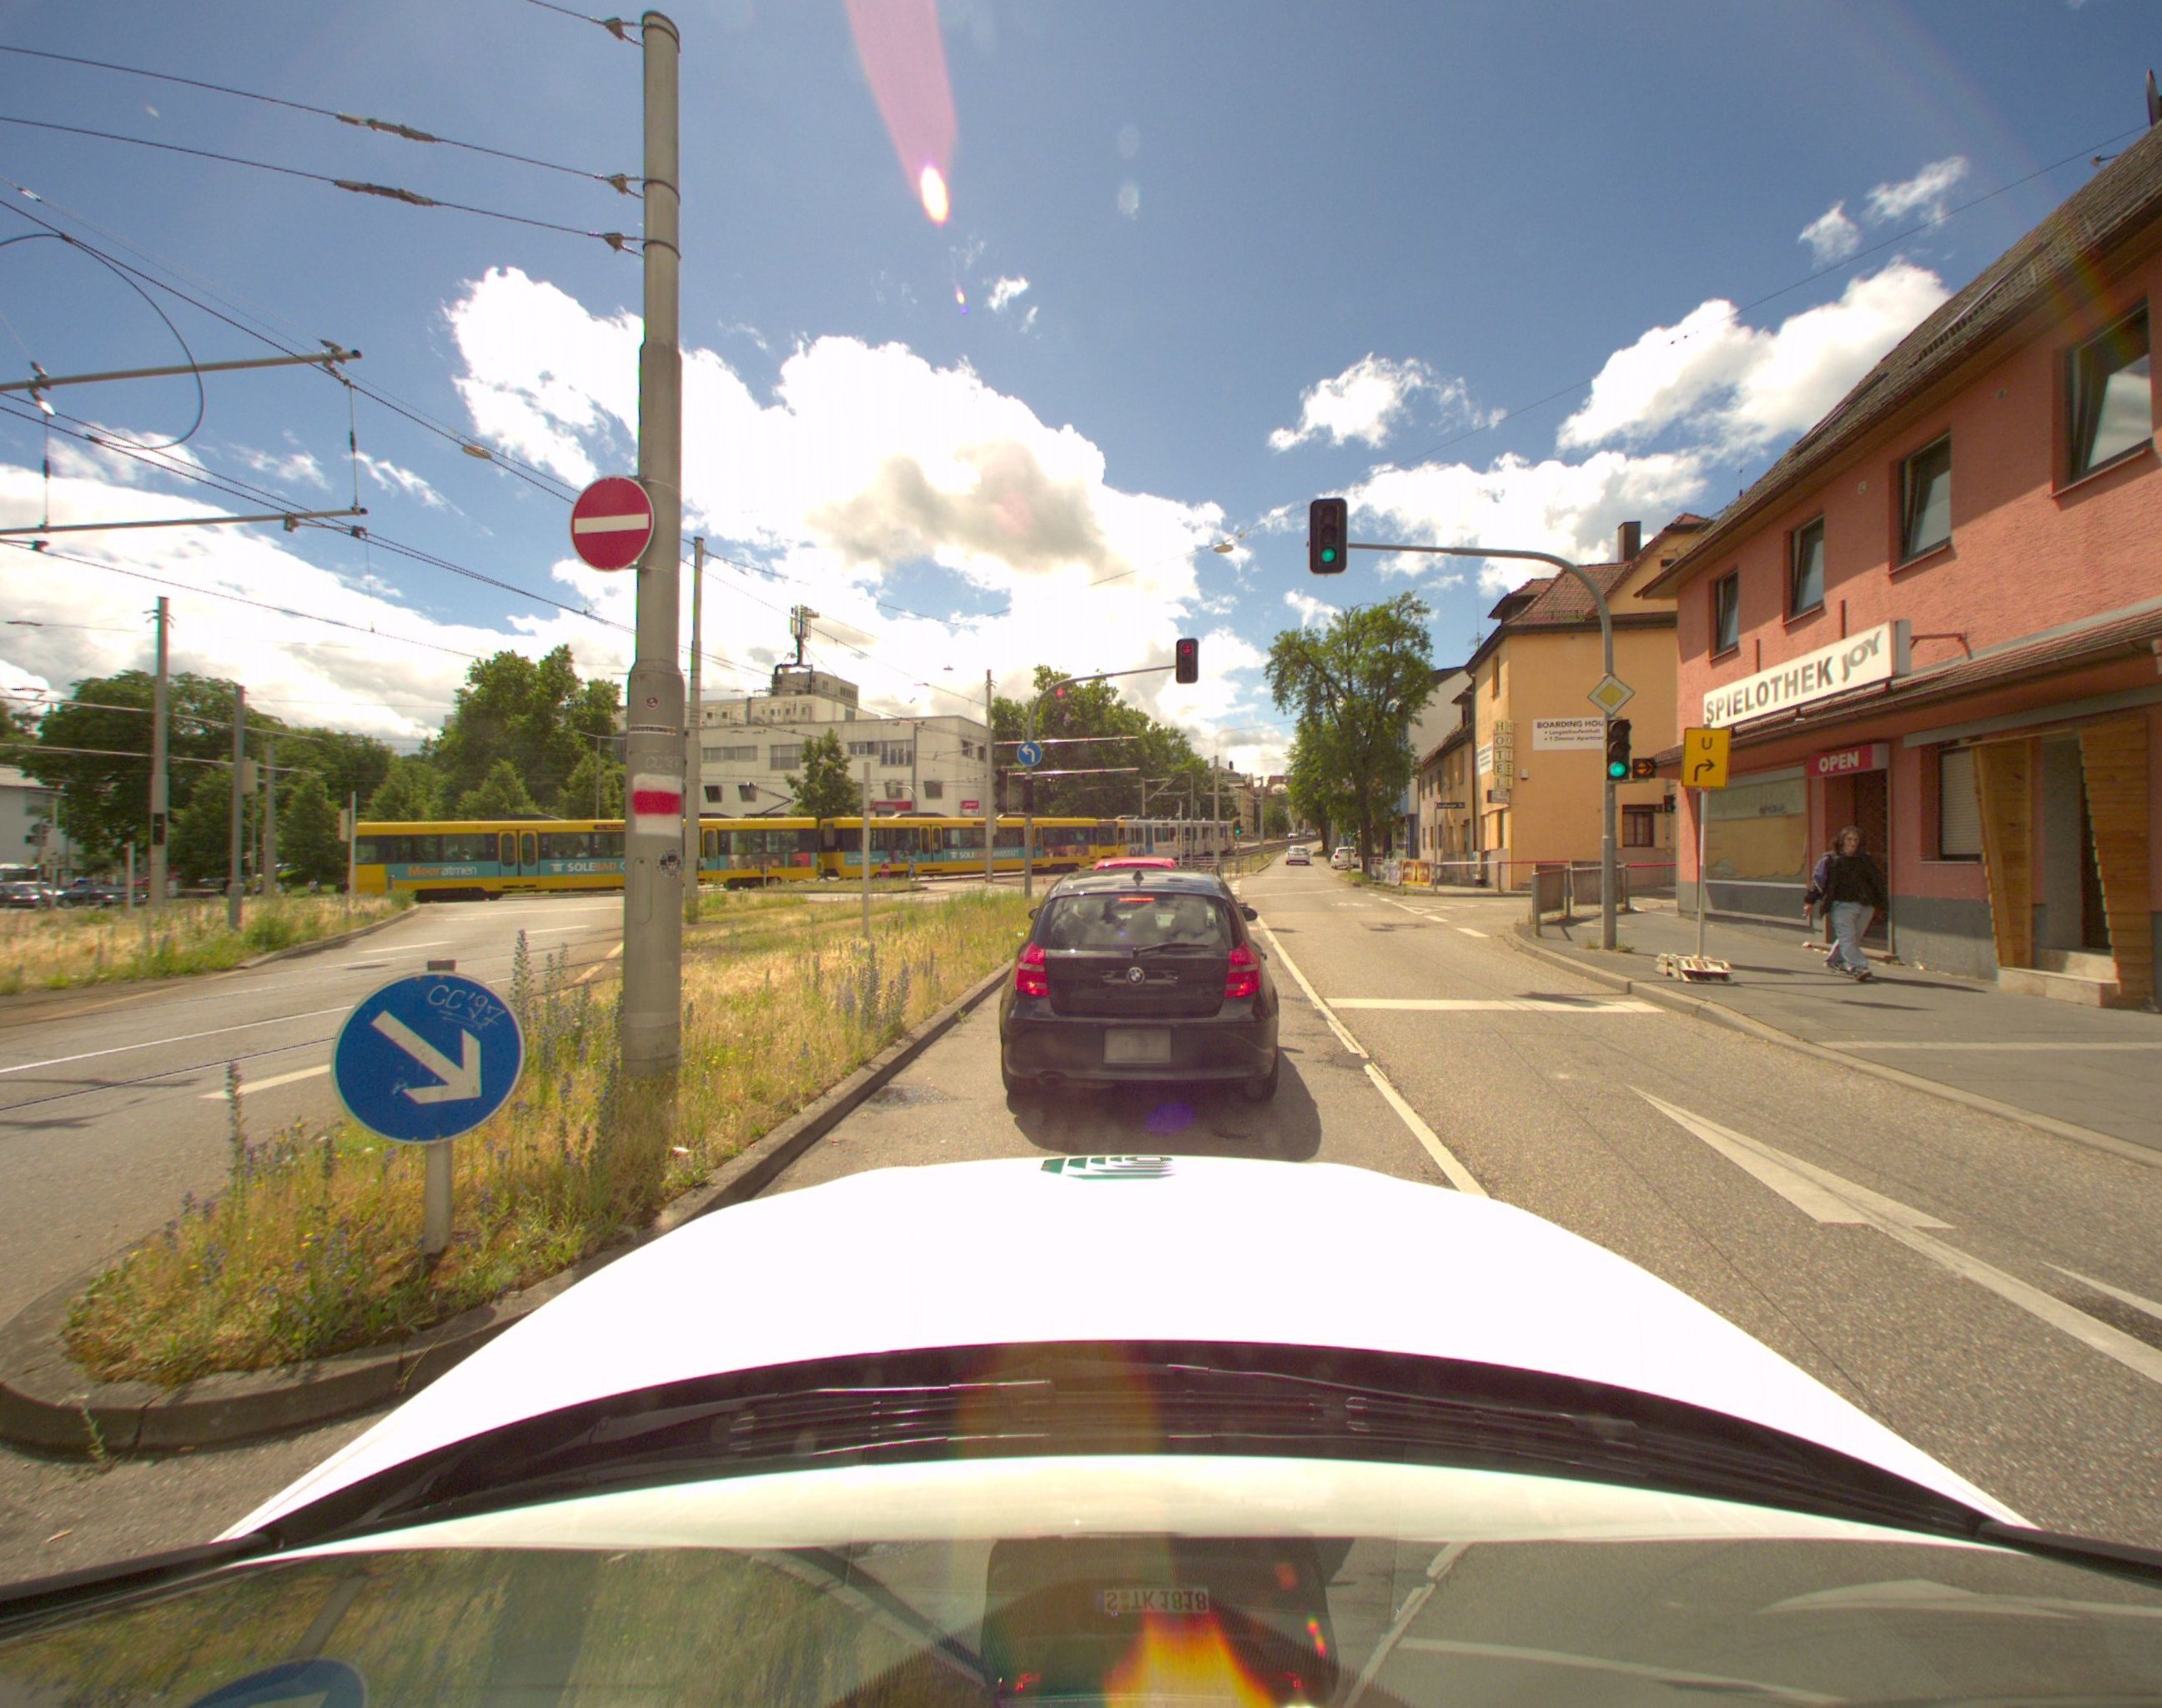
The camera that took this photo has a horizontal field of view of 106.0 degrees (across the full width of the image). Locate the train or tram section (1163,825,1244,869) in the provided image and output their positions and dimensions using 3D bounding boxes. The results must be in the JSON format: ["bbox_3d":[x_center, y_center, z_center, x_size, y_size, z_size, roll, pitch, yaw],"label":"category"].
[{"bbox_3d":[12.813,-0.558,82.375,3.717,3.814,20.154,-2,-1,21],"label":"train or tram section"}]

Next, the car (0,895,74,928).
[{"bbox_3d":[-58.129,3.160,44.691,4.212,1.651,1.925,-2,-1,12],"label":"car"}]

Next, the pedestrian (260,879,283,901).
[{"bbox_3d":[-59.293,2.613,59.658,0.809,1.576,0.843,-1,0,7],"label":"pedestrian"}]

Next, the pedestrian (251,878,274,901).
[{"bbox_3d":[-59.330,2.570,59.014,0.809,1.576,0.843,-1,0,7],"label":"pedestrian"}]

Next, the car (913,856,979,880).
[{"bbox_3d":[-9.387,0.952,56.694,4.192,1.585,1.836,-1,-1,-42],"label":"car"}]

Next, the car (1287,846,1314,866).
[{"bbox_3d":[17.252,0.147,64.201,1.803,1.468,4.013,-1,0,12],"label":"car"}]

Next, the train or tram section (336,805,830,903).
[{"bbox_3d":[-21.769,-0.170,38.024,18.916,3.919,3.732,-1,-1,-23],"label":"train or tram section"}]

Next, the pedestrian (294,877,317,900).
[{"bbox_3d":[-55.267,2.471,58.041,0.809,1.576,0.843,-1,0,7],"label":"pedestrian"}]

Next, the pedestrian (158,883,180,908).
[{"bbox_3d":[-69.850,3.192,62.401,0.811,1.866,0.835,-1,0,16],"label":"pedestrian"}]

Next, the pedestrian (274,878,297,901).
[{"bbox_3d":[-57.485,2.550,58.852,0.809,1.576,0.843,-1,0,7],"label":"pedestrian"}]

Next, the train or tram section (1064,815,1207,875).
[{"bbox_3d":[5.048,-0.571,64.103,3.715,3.879,20.755,-2,-1,25],"label":"train or tram section"}]

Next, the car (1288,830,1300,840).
[{"bbox_3d":[48.816,-4.360,186.933,1.976,2.014,4.022,-2,-1,24],"label":"car"}]

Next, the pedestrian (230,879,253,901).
[{"bbox_3d":[-61.993,2.623,60.133,0.809,1.576,0.843,-1,0,7],"label":"pedestrian"}]

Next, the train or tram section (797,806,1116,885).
[{"bbox_3d":[-6.282,-0.462,48.286,20.265,3.829,3.715,-1,-1,-44],"label":"train or tram section"}]

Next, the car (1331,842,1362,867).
[{"bbox_3d":[18.140,0.060,55.786,1.774,1.596,4.016,-2,-1,15],"label":"car"}]

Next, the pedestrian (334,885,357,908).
[{"bbox_3d":[-51.763,2.975,57.306,0.809,1.576,0.843,-1,0,7],"label":"pedestrian"}]

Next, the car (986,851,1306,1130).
[{"bbox_3d":[0.345,0.766,6.410,1.696,1.452,3.999,-2,-1,0],"label":"car"}]

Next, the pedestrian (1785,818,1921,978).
[{"bbox_3d":[8.276,0.450,8.773,0.759,1.642,0.781,-2,1,13],"label":"pedestrian"}]

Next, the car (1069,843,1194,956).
[{"bbox_3d":[0.948,0.641,12.950,1.616,1.473,4.009,-2,-1,8],"label":"car"}]

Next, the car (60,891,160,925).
[{"bbox_3d":[-56.477,3.152,47.390,4.196,1.791,2.030,-2,-1,13],"label":"car"}]

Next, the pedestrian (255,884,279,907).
[{"bbox_3d":[-57.864,2.936,57.897,0.809,1.576,0.843,-1,0,7],"label":"pedestrian"}]

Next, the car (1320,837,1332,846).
[{"bbox_3d":[43.502,-2.265,144.549,1.801,1.468,4.018,2,1,17],"label":"car"}]

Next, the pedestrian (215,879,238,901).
[{"bbox_3d":[-61.957,2.606,59.055,0.809,1.576,0.843,-1,0,7],"label":"pedestrian"}]

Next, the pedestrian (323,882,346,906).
[{"bbox_3d":[-51.904,2.794,56.638,0.809,1.576,0.843,-1,0,7],"label":"pedestrian"}]
